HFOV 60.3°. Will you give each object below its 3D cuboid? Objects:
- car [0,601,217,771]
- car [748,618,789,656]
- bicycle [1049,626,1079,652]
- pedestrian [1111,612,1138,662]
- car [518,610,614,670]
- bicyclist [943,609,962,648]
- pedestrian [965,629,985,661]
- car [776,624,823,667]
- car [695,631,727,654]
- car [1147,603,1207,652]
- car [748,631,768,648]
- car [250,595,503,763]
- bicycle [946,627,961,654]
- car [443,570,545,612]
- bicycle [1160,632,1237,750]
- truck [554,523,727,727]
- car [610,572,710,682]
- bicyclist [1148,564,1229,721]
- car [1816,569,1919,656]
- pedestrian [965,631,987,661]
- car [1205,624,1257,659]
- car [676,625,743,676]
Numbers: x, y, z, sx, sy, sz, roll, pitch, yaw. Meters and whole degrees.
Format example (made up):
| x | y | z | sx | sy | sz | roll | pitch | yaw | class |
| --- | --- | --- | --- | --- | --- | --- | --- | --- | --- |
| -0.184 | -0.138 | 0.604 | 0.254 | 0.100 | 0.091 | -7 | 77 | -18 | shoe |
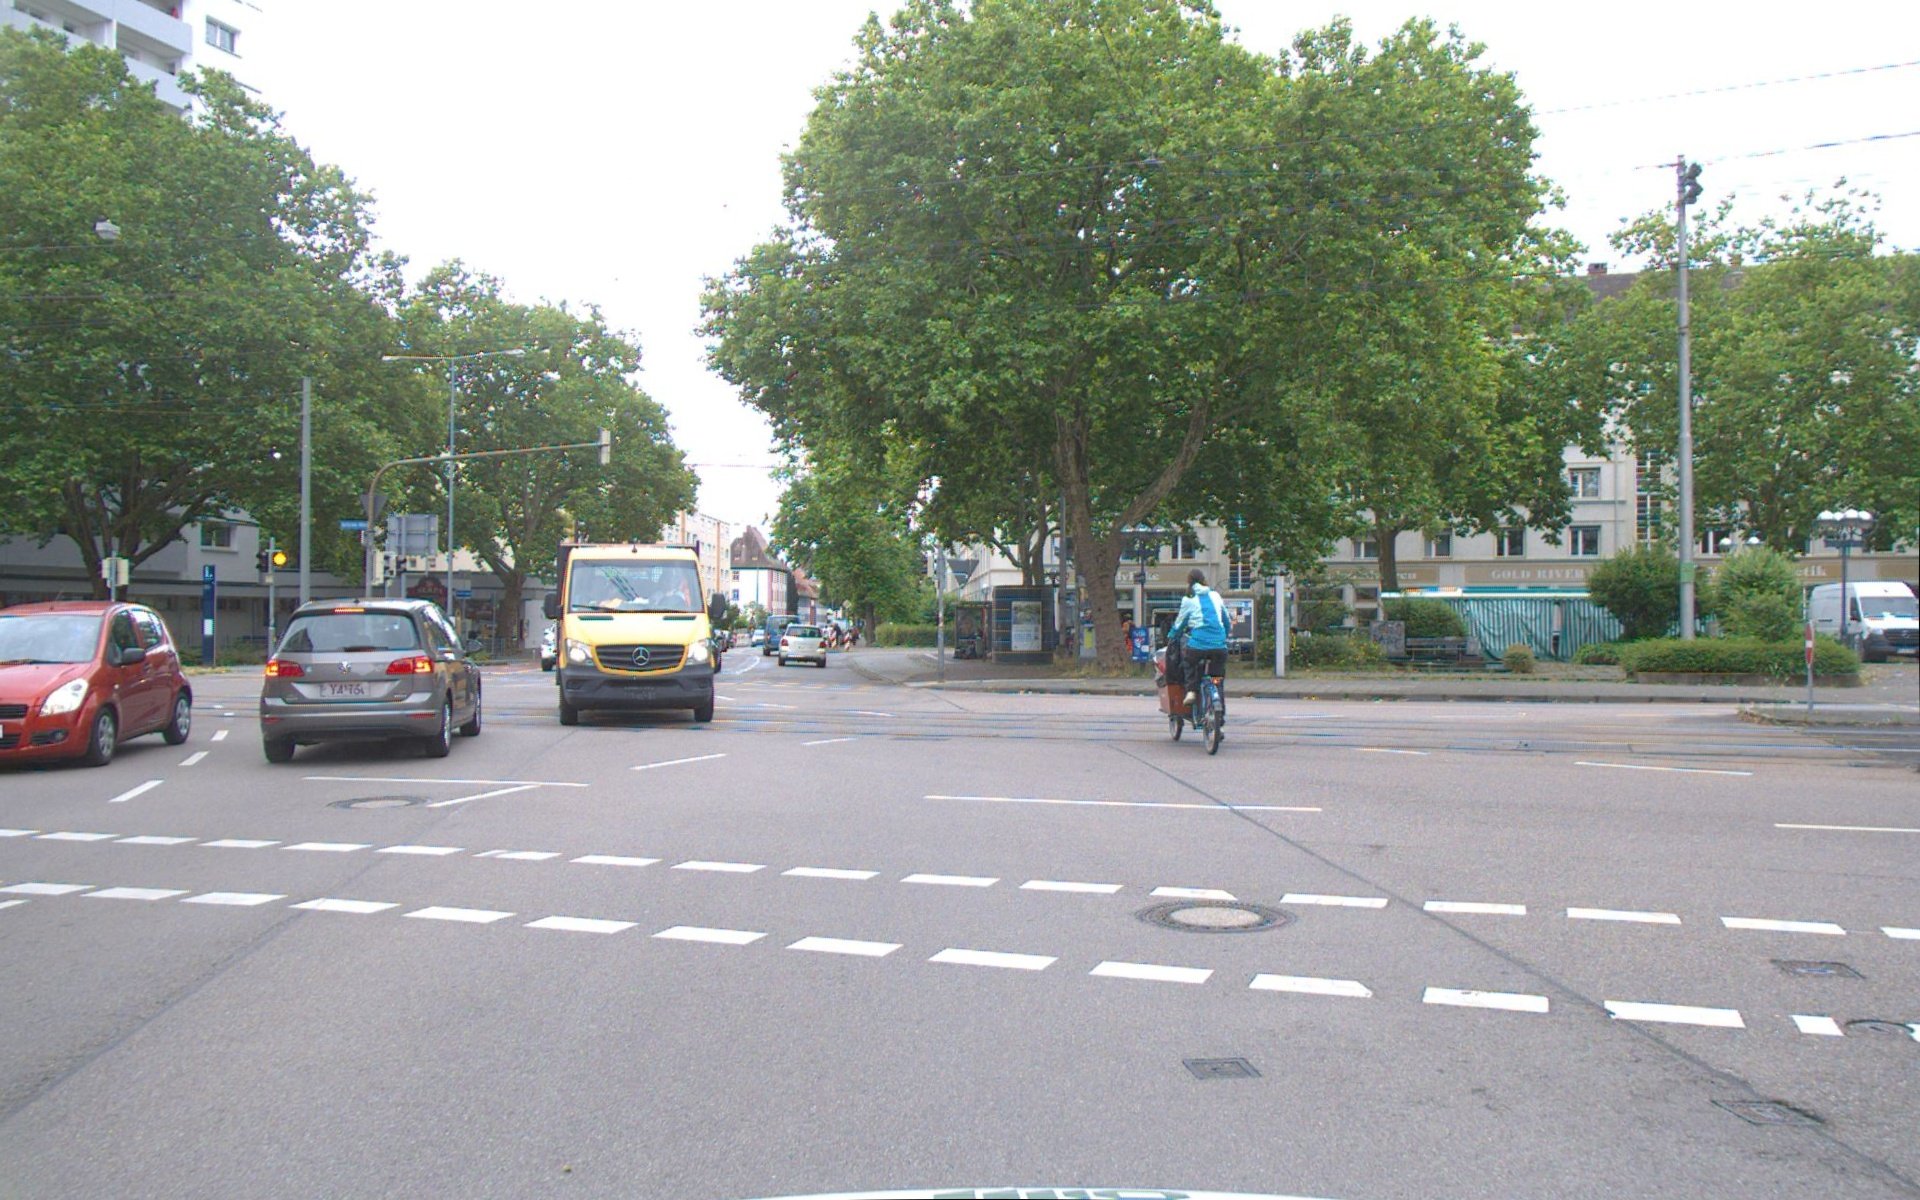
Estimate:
| x | y | z | sx | sy | sz | roll | pitch | yaw | class |
| --- | --- | --- | --- | --- | --- | --- | --- | --- | --- |
| -9.153 | 0.814 | 17.088 | 1.700 | 1.552 | 3.991 | 0 | -1 | -9 | car |
| -9.607 | 1.826 | 82.803 | 1.956 | 1.881 | 3.993 | 0 | -1 | -7 | car |
| 4.721 | 1.761 | 74.937 | 0.762 | 1.188 | 2.333 | -1 | -1 | 19 | bicycle |
| 5.917 | 1.341 | 59.370 | 0.769 | 1.774 | 0.923 | 0 | -1 | -7 | pedestrian |
| -12.784 | 1.272 | 53.971 | 1.828 | 1.858 | 5.226 | 0 | -1 | 1 | car |
| -0.360 | 1.339 | 76.845 | 0.746 | 1.790 | 0.818 | 0 | -1 | -10 | bicyclist |
| 0.667 | 1.993 | 73.220 | 0.802 | 1.396 | 0.761 | 0 | -1 | -6 | pedestrian |
| -6.312 | 1.763 | 64.830 | 1.780 | 1.620 | 3.995 | 0 | -1 | -6 | car |
| -16.136 | 2.738 | 107.328 | 1.817 | 1.478 | 4.162 | 0 | -1 | -6 | car |
| 10.254 | 1.314 | 77.937 | 2.128 | 2.239 | 4.001 | -1 | -1 | 18 | car |
| -18.302 | 3.610 | 149.853 | 1.733 | 1.512 | 3.995 | 0 | -1 | -5 | car |
| -5.999 | 0.760 | 17.465 | 1.699 | 1.552 | 3.993 | 0 | -1 | -7 | car |
| -0.309 | 1.875 | 77.093 | 0.409 | 1.264 | 1.922 | 0 | -1 | -9 | bicycle |
| -20.678 | -0.386 | 73.492 | 3.953 | 1.736 | 1.976 | 1 | -2 | -35 | car |
| 2.425 | 0.897 | 17.010 | 0.483 | 1.117 | 2.138 | 0 | -1 | 0 | bicycle |
| -4.515 | 0.315 | 22.768 | 2.040 | 2.450 | 5.442 | -1 | -1 | -14 | truck |
| -7.213 | 0.651 | 40.193 | 2.093 | 2.494 | 5.569 | 0 | -1 | -7 | car |
| 2.317 | 0.427 | 16.865 | 0.671 | 1.544 | 1.058 | 0 | -1 | 0 | bicyclist |
| 29.620 | 0.412 | 53.354 | 2.187 | 2.685 | 5.451 | 0 | -1 | 12 | car |
| 0.697 | 2.004 | 72.236 | 0.836 | 1.338 | 0.761 | 0 | -1 | -6 | pedestrian |
| 12.663 | 1.918 | 77.158 | 1.759 | 1.570 | 3.827 | -1 | -1 | 19 | car |
| -7.391 | 1.472 | 49.131 | 1.774 | 1.452 | 4.311 | 0 | -1 | -6 | car |
